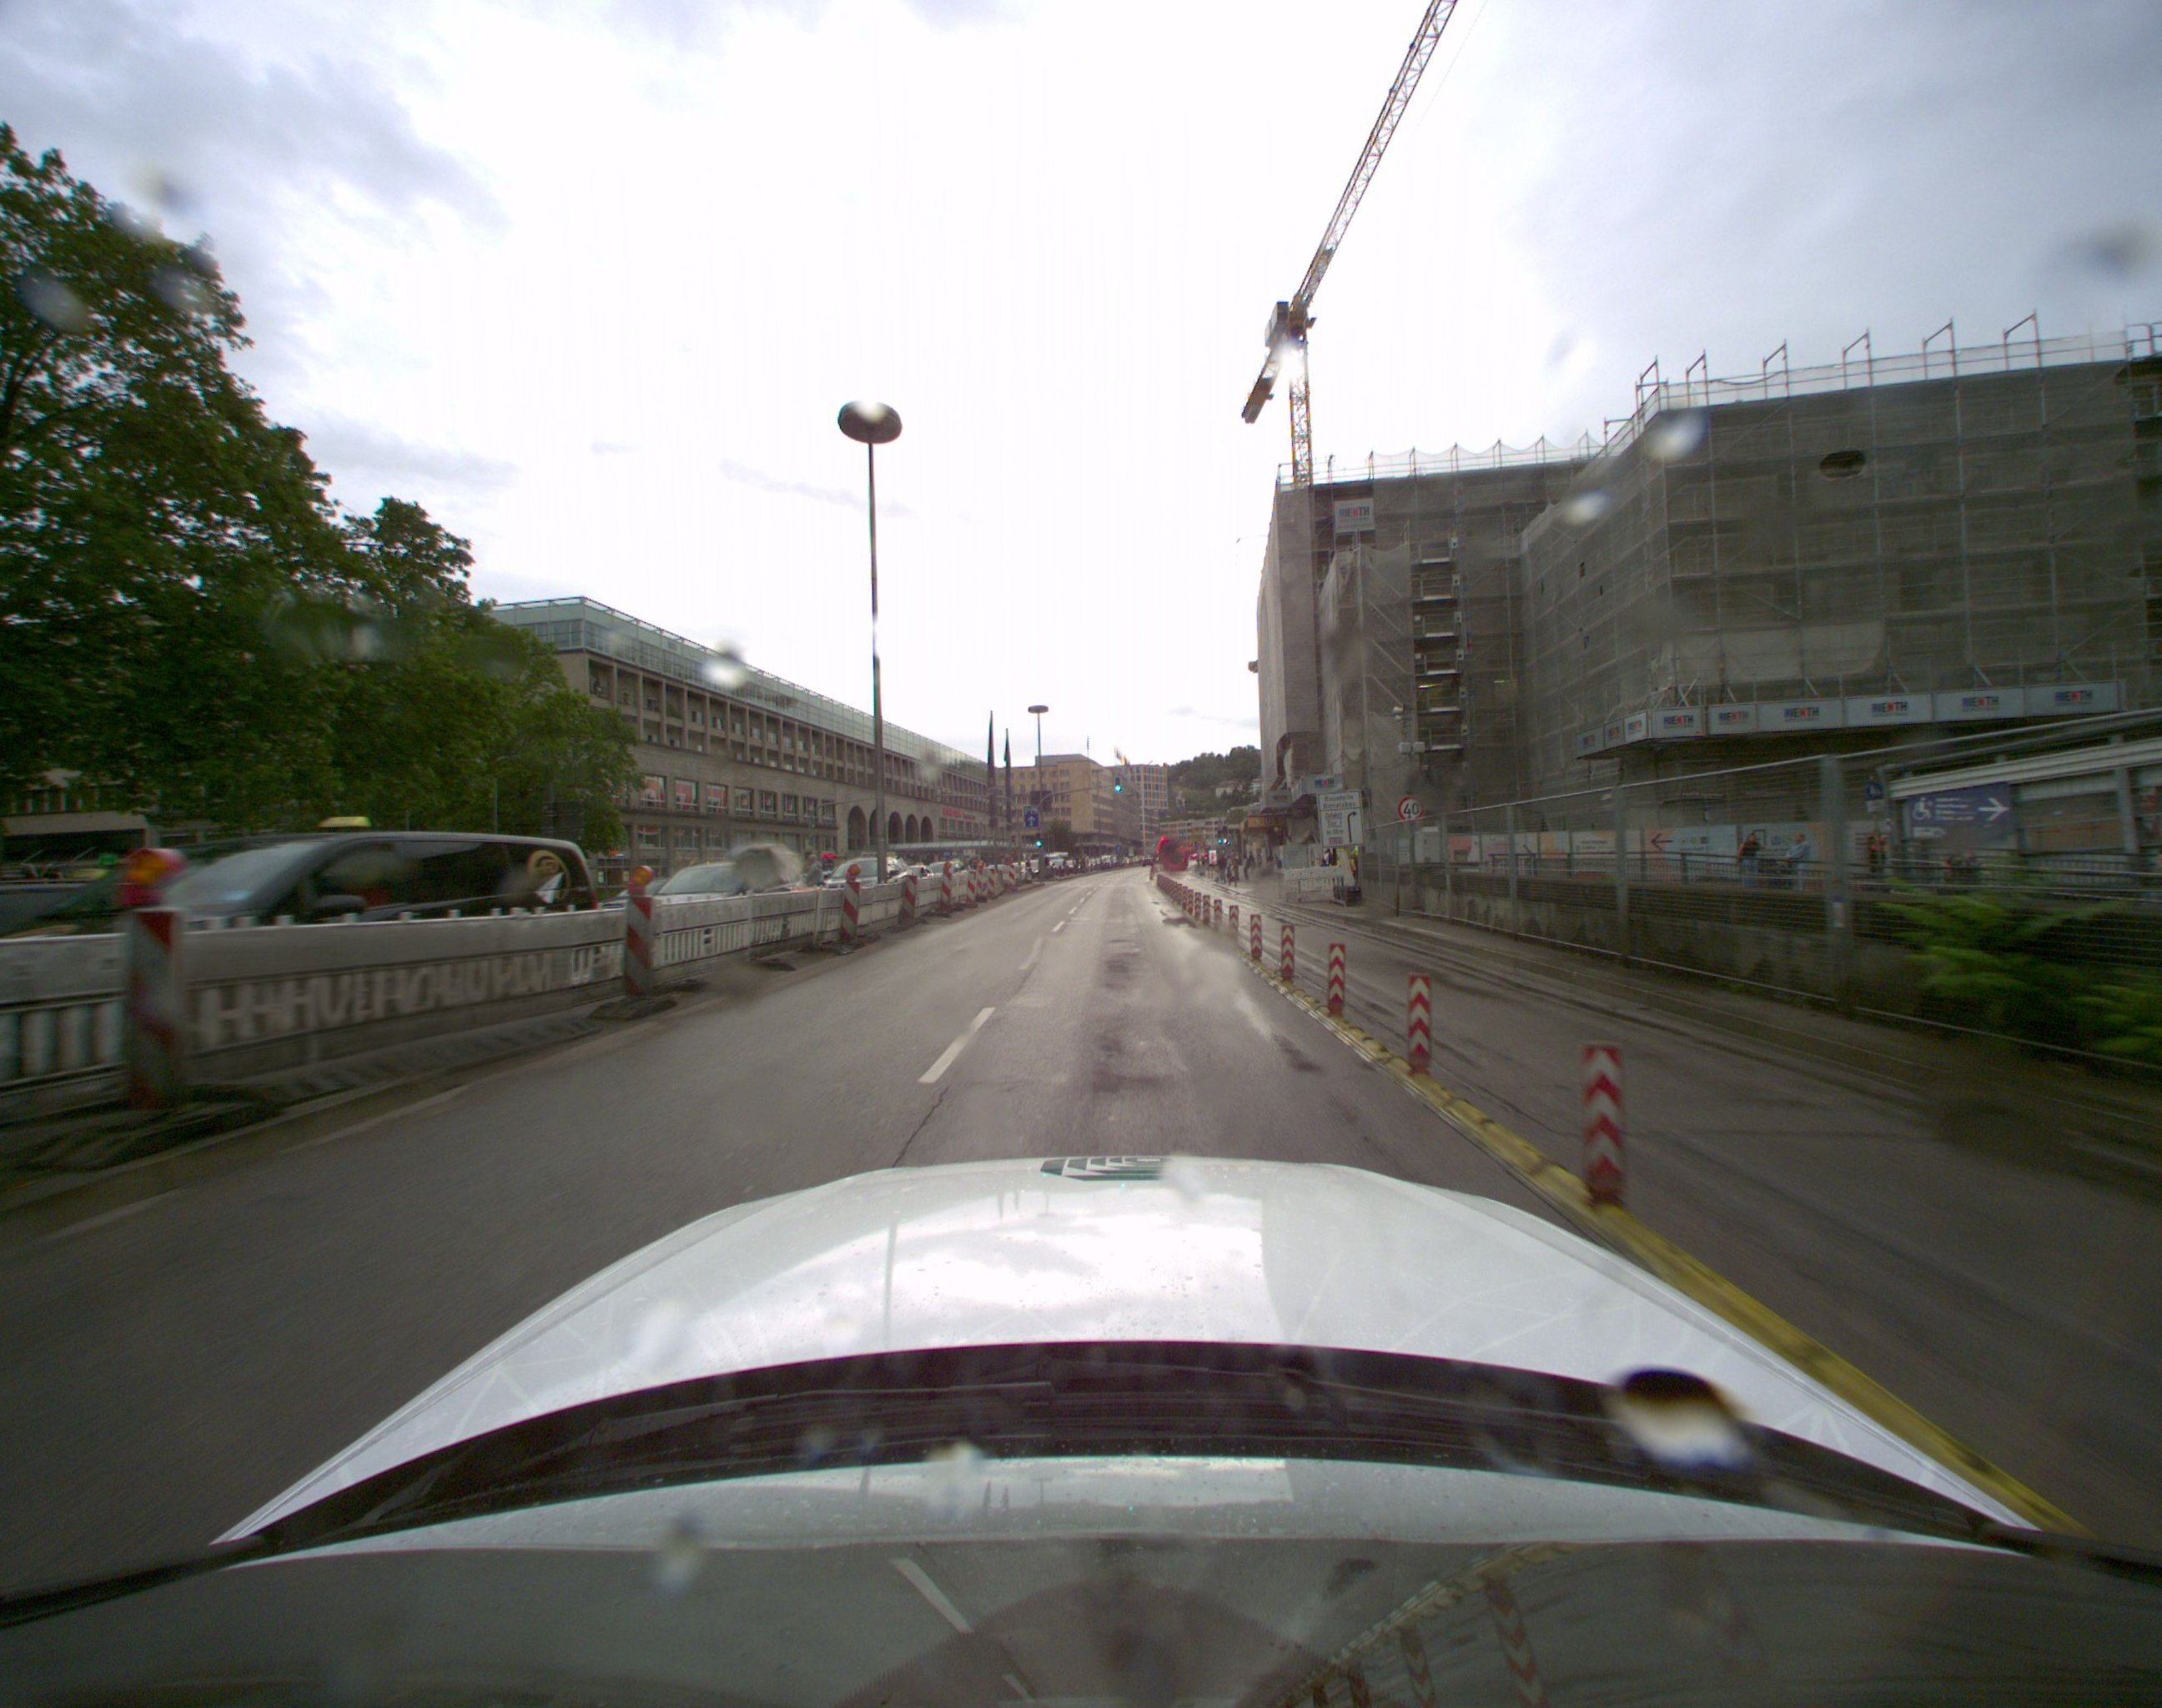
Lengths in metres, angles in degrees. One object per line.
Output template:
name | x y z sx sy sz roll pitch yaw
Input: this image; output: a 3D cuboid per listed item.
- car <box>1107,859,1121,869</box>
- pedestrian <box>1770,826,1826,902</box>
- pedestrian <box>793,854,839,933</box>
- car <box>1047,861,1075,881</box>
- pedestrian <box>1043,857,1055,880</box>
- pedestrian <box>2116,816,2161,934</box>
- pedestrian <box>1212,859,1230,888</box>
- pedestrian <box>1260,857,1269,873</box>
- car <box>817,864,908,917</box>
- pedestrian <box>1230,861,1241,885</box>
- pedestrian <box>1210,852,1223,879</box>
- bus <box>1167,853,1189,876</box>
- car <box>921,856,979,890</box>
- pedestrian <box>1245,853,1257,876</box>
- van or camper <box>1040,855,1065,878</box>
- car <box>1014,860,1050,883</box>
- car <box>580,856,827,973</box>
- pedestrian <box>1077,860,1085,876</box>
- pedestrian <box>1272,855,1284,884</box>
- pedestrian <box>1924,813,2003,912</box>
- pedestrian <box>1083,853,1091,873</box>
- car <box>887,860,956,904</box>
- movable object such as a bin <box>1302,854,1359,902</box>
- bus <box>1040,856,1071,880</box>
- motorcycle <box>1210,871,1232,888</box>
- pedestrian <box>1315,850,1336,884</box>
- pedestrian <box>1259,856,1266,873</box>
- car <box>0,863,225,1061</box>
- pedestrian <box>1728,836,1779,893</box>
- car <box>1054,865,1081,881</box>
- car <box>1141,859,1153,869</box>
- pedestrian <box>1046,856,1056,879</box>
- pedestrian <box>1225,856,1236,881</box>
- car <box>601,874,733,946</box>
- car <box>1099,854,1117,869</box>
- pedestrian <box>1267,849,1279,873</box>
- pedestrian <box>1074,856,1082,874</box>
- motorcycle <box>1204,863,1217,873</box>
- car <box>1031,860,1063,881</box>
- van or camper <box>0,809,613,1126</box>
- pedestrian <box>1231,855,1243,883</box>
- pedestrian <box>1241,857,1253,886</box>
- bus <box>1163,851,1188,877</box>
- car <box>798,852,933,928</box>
car | 5.611 1.741 139.116 1.983 1.552 4.006 -2 -1 6
pedestrian | 19.437 0.282 22.088 0.801 2.014 0.765 0 -2 0
pedestrian | -6.923 1.020 21.319 0.872 2.014 0.822 -1 -1 2
car | -1.941 1.646 79.181 1.919 1.690 4.691 -3 -1 7
pedestrian | -2.438 1.114 62.528 0.780 1.775 0.605 -4 -1 -4
pedestrian | 18.801 0.359 14.056 0.861 2.014 0.765 0 -2 0
pedestrian | 8.503 1.193 49.508 0.584 1.741 0.813 -1 -1 -35
pedestrian | 17.617 1.038 78.195 0.647 1.540 0.667 -5 -1 9
car | -8.078 1.289 30.553 1.775 1.722 4.490 -2 0 6
pedestrian | 9.568 1.157 50.426 0.555 1.449 0.713 -5 -1 9
pedestrian | 9.128 0.799 54.715 0.557 1.759 0.750 -4 -1 -6
bus | 13.249 1.447 110.752 2.739 3.066 9.014 -1 -1 9
car | -6.885 0.973 43.263 1.894 1.699 4.507 0 0 5
pedestrian | 14.100 0.834 67.563 0.719 1.847 0.812 -5 -1 8
van or camper | -3.343 1.499 97.295 1.983 2.514 5.380 -5 -1 6
car | -3.749 1.320 63.076 2.005 1.621 4.850 -2 -1 6
car | -6.762 0.968 15.336 1.984 1.770 4.818 -2 0 5
pedestrian | 0.036 1.478 84.754 0.719 1.606 0.998 0 0 8
pedestrian | 11.501 0.876 47.601 0.560 1.651 0.616 -5 -1 12
pedestrian | 18.374 0.185 16.972 0.775 2.014 0.765 0 -2 0
pedestrian | 0.607 0.868 81.015 0.719 2.008 0.774 -1 -1 8
car | -7.311 1.248 37.768 1.894 1.898 4.530 0 0 5
movable object such as a bin | 8.263 0.781 26.929 1.286 1.492 1.543 -3 -1 36
bus | -3.888 2.182 128.191 2.861 3.460 10.599 -2 -1 9
motorcycle | 8.522 1.550 49.490 0.589 1.021 1.226 -1 -1 -35
pedestrian | 12.529 0.657 41.713 0.732 1.677 0.959 -5 -1 7
pedestrian | 20.419 1.213 91.525 0.641 1.847 0.660 -5 -1 8
car | -10.317 0.965 6.781 1.885 1.702 4.297 -2 0 -2
pedestrian | 19.074 0.290 23.098 0.851 1.593 0.709 0 -1 0
car | -1.379 1.990 85.752 1.919 1.577 5.271 -3 -1 7
car | 11.186 1.699 138.191 1.985 1.552 4.003 -2 -1 3
pedestrian | -2.286 1.019 61.575 0.648 1.711 0.594 0 0 6
pedestrian | 9.810 0.953 53.422 0.555 1.641 0.754 -5 -1 9
car | -12.939 1.683 25.765 1.985 2.014 4.003 0 0 3
car | 4.015 1.141 120.885 1.982 2.179 5.558 -2 -1 9
pedestrian | 13.228 0.490 56.113 0.546 1.632 0.998 -5 -1 8
pedestrian | -0.274 1.046 80.930 0.694 1.755 0.713 -2 -1 8
motorcycle | 15.239 1.699 95.718 1.626 1.166 0.579 1 -2 -43
car | -2.885 1.407 70.484 1.919 1.690 4.691 -3 -1 7
van or camper | -6.798 0.692 7.378 1.939 1.820 5.392 0 -1 1
pedestrian | 9.879 0.946 51.624 0.555 1.752 0.713 -5 -1 9
pedestrian | 9.909 1.035 48.561 0.555 1.651 0.616 -5 -1 9
bus | 11.874 1.322 101.778 2.739 3.069 9.101 -1 -1 9
car | -5.827 0.898 22.742 1.984 1.817 4.818 -2 0 6
